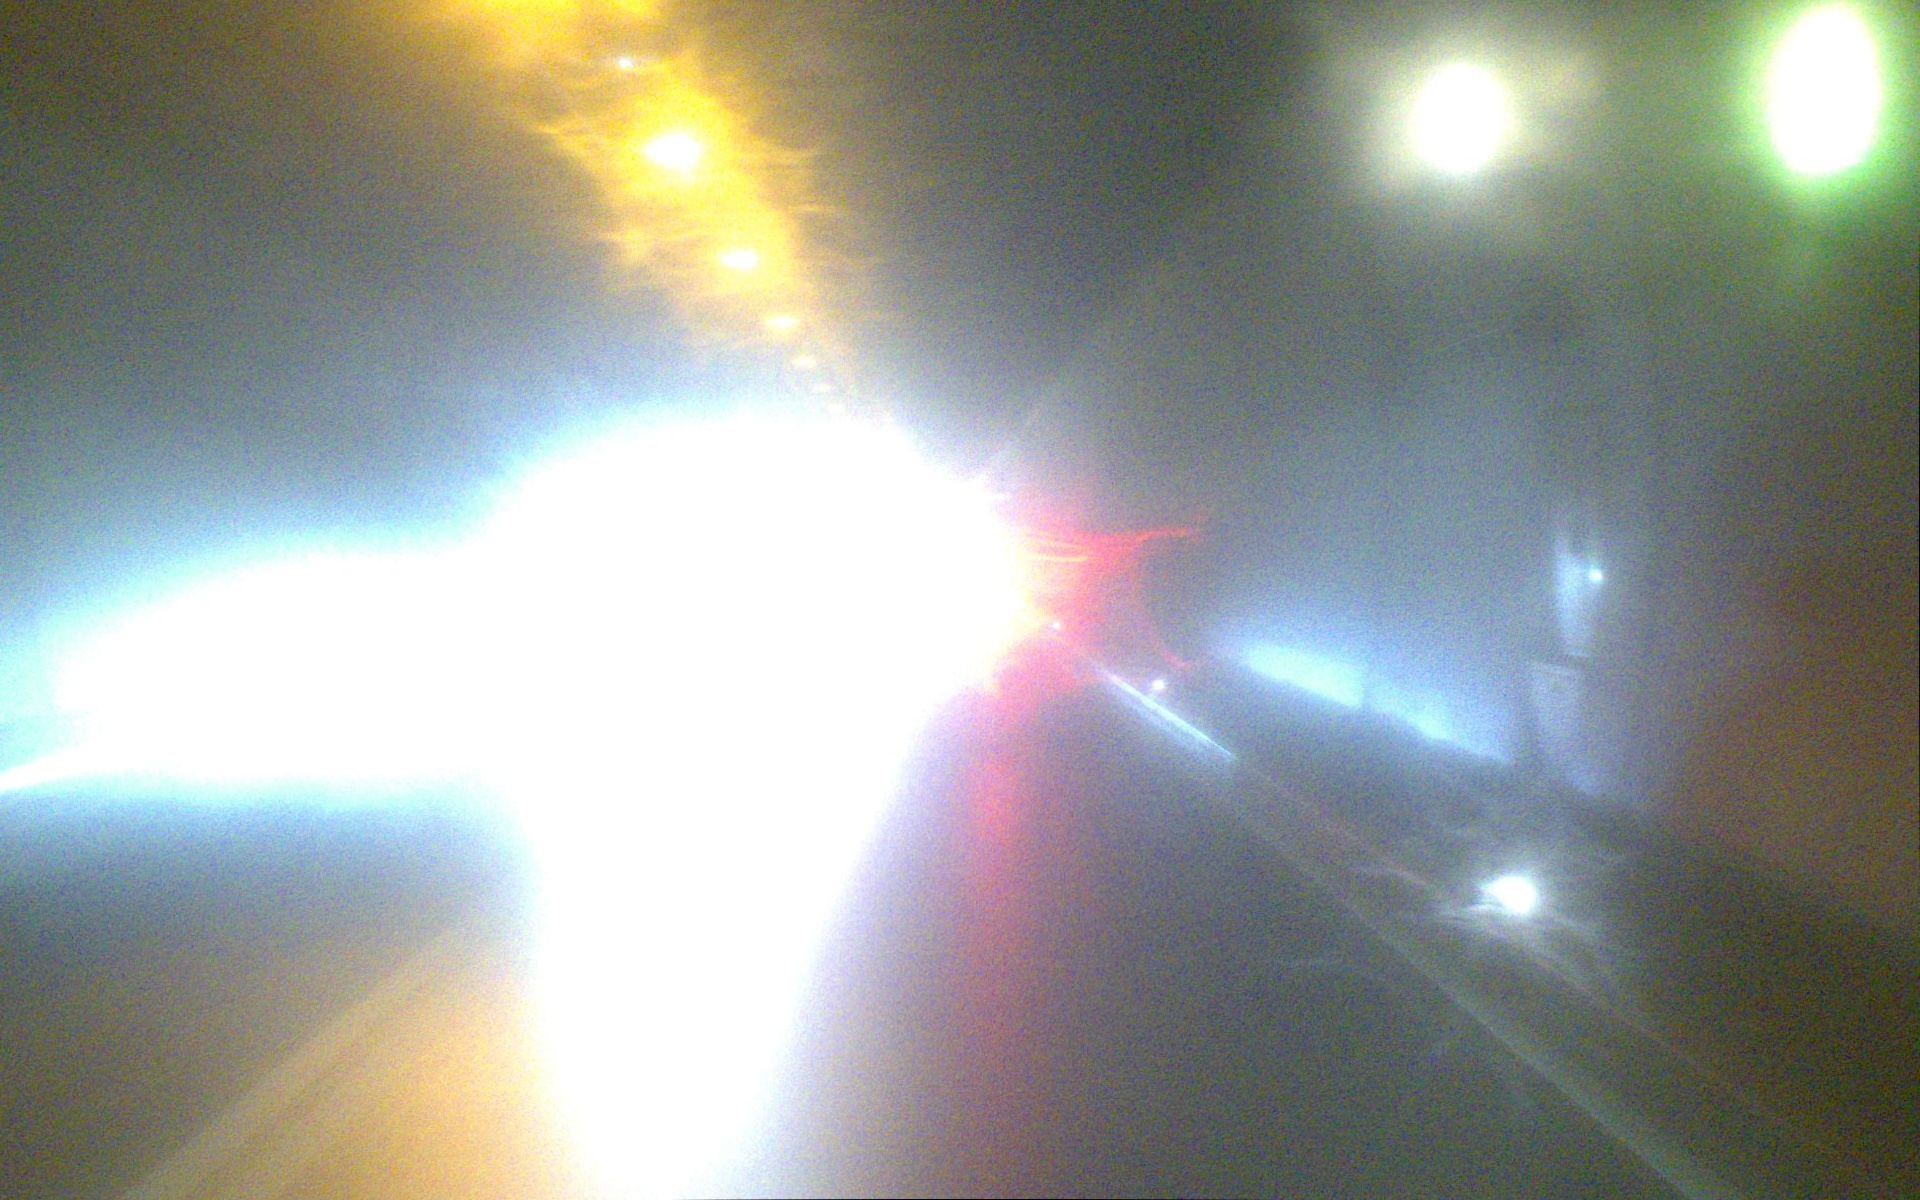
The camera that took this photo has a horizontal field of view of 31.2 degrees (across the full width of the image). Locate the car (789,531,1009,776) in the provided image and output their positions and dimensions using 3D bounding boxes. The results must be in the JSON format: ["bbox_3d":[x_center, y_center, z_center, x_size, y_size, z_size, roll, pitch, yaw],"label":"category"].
[{"bbox_3d":[-0.452,0.382,29.040,1.635,1.751,4.146,-3,2,1],"label":"car"}]

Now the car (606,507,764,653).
[{"bbox_3d":[-4.230,-0.352,52.704,2.211,2.006,4.001,-3,2,-5],"label":"car"}]
